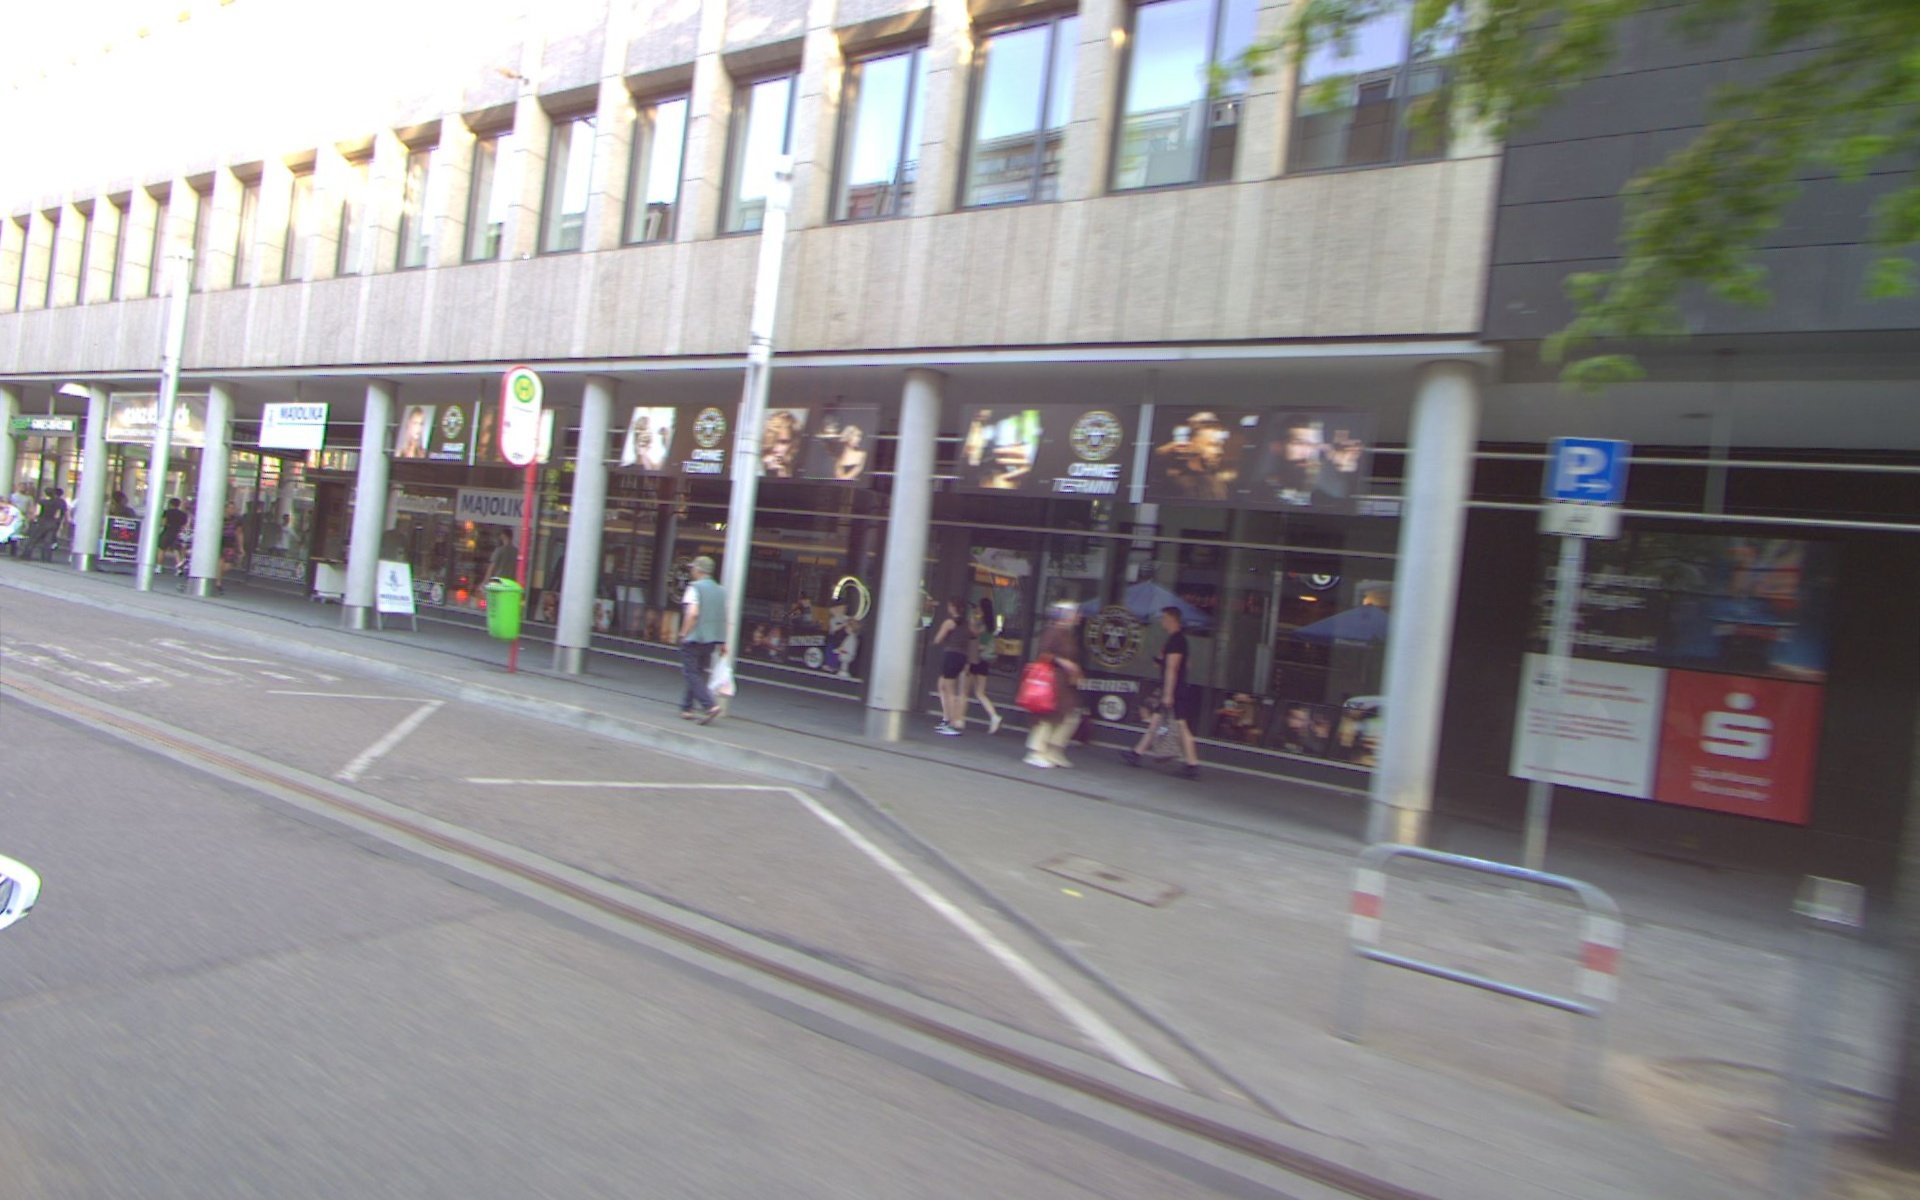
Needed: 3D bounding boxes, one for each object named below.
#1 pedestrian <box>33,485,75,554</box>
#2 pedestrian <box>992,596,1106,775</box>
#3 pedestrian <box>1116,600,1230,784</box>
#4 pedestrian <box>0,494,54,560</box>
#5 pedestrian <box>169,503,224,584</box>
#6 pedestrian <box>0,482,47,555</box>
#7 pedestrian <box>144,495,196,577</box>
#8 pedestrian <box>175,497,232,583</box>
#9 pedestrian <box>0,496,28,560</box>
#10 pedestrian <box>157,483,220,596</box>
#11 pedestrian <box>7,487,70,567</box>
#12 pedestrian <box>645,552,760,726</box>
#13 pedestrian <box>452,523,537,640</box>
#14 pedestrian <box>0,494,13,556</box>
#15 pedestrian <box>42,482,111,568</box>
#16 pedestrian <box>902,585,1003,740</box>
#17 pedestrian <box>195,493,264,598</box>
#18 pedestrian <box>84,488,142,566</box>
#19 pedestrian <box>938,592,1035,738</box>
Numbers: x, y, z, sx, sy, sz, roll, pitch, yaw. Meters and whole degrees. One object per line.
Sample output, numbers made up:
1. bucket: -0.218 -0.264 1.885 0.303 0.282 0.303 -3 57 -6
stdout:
1. pedestrian: -24.356 -2.148 27.047 0.607 1.753 0.571 7 1 29
2. pedestrian: 0.907 0.842 10.155 0.728 1.664 0.748 7 1 30
3. pedestrian: 2.276 0.958 10.734 0.849 1.794 0.674 7 1 29
4. pedestrian: -20.982 -1.634 22.588 0.523 1.330 0.719 7 -1 32
5. pedestrian: -16.868 -1.244 22.236 0.669 1.682 0.648 7 1 31
6. pedestrian: -23.351 -2.019 25.001 0.710 1.682 0.688 7 1 32
7. pedestrian: -18.164 -1.471 23.130 0.760 1.775 0.583 7 1 29
8. pedestrian: -17.797 -1.404 23.682 0.760 1.906 0.688 7 1 29
9. pedestrian: -20.746 -1.578 21.708 0.516 1.330 0.719 7 -1 32
10. pedestrian: -14.229 -1.110 18.557 0.644 1.968 0.579 7 1 30
11. pedestrian: -19.716 -1.548 21.520 0.724 1.590 0.725 7 1 32
12. pedestrian: -2.545 0.397 9.968 0.627 1.606 0.670 7 -2 30
13. pedestrian: -8.168 -0.315 17.682 0.884 1.913 0.845 7 1 30
14. pedestrian: -21.253 -1.693 21.891 0.523 1.330 0.719 7 -1 32
15. pedestrian: -20.245 -1.717 23.059 0.844 1.820 0.845 7 1 30
16. pedestrian: -0.083 0.717 11.665 0.775 1.664 0.682 7 1 29
17. pedestrian: -14.218 -1.051 19.583 0.783 1.913 0.707 7 1 31
18. pedestrian: -20.979 -1.810 24.922 0.761 1.794 0.774 7 1 29
19. pedestrian: 0.332 0.795 12.426 0.805 1.664 0.711 7 1 29
